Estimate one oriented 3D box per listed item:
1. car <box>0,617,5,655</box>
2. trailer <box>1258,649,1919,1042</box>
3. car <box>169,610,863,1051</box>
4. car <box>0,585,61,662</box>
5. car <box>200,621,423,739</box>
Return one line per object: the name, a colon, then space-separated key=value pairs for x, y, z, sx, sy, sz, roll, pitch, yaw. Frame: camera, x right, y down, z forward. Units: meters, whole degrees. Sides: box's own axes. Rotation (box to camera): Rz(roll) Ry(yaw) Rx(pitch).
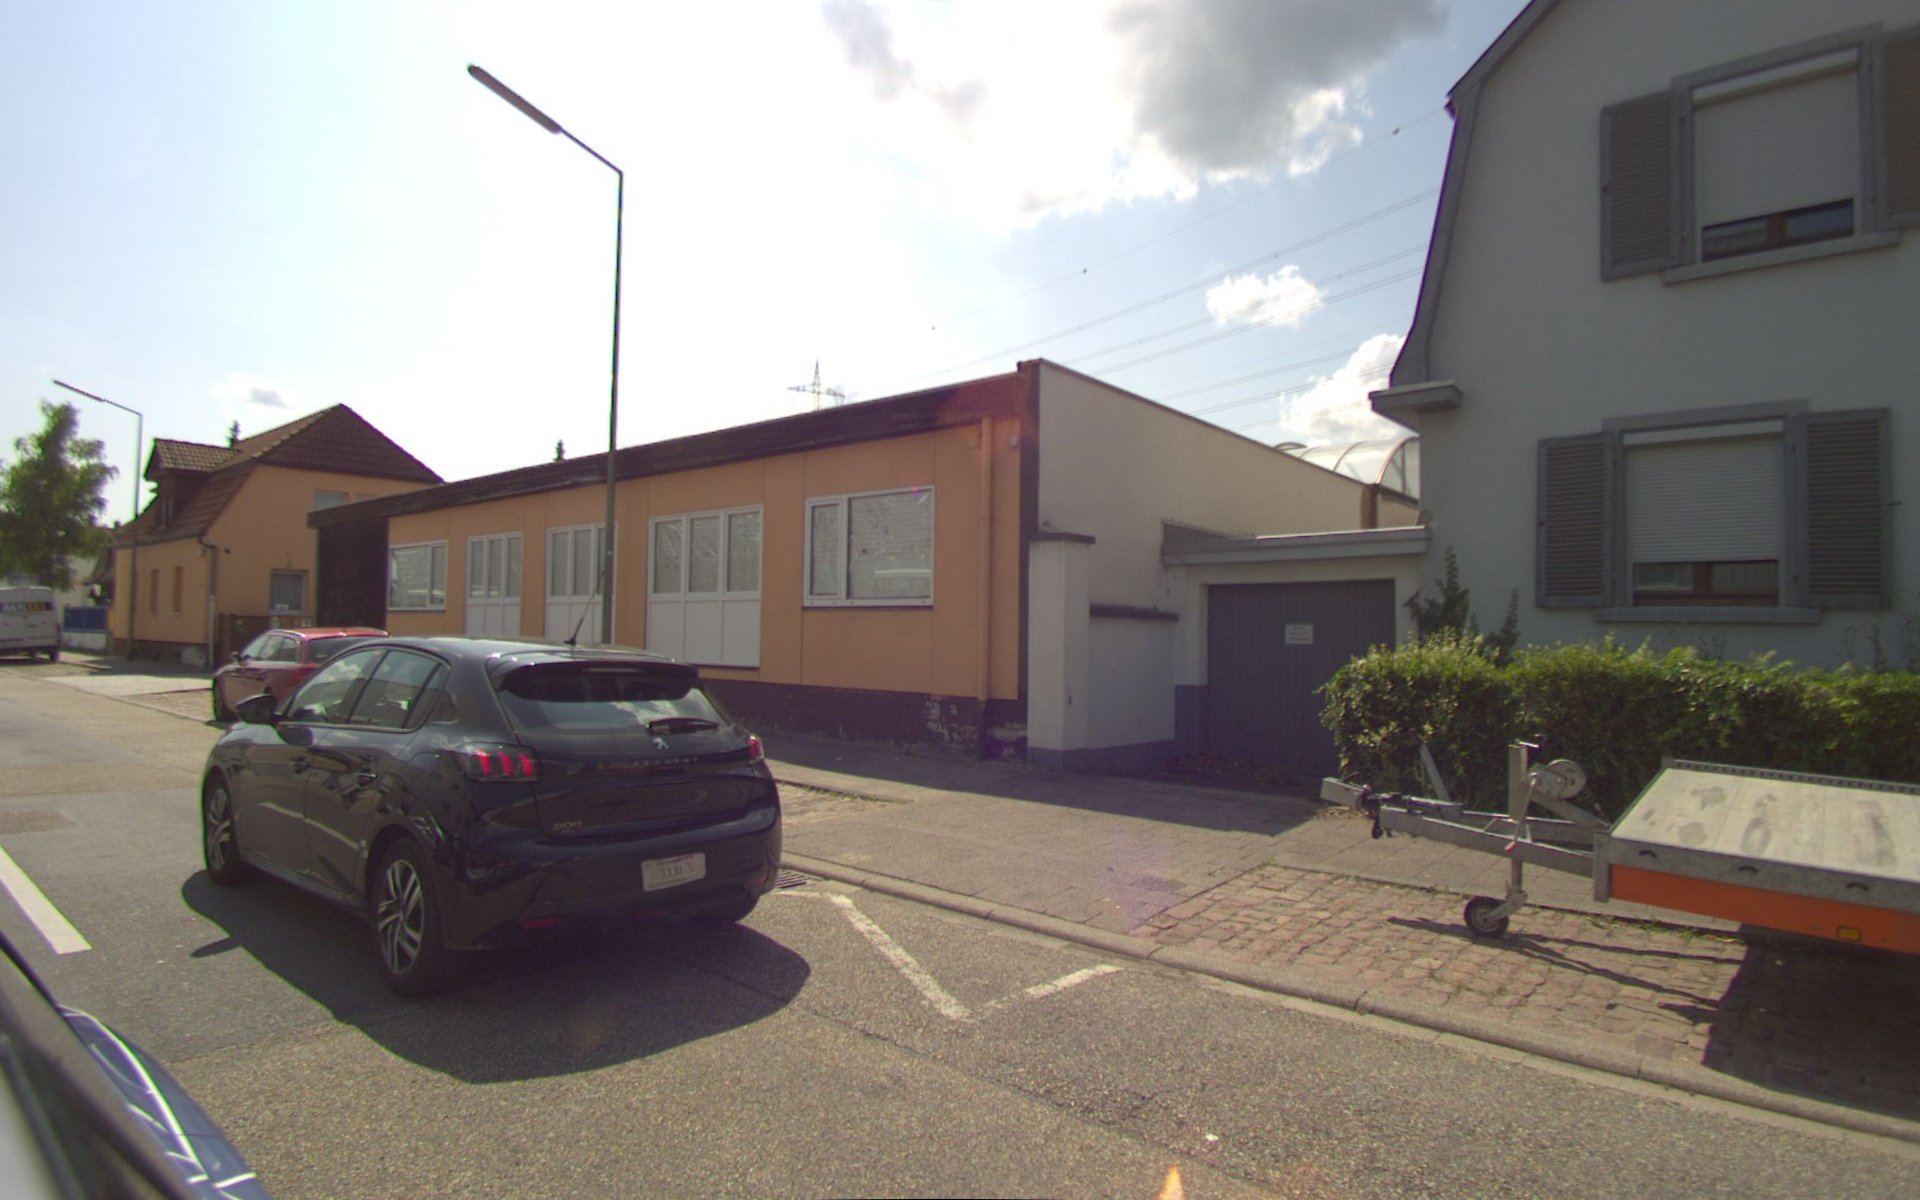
car: x=-39.637 y=1.436 z=40.562 sx=3.714 sy=1.502 sz=1.636 roll=-1 pitch=0 yaw=41
trailer: x=4.486 y=0.872 z=3.770 sx=6.052 sy=1.173 sz=2.424 roll=-1 pitch=-1 yaw=42
car: x=-2.541 y=0.830 z=5.327 sx=3.997 sy=1.453 sz=1.717 roll=-1 pitch=-4 yaw=40
car: x=-33.784 y=0.798 z=35.941 sx=5.821 sy=2.561 sz=2.052 roll=-1 pitch=0 yaw=41
car: x=-9.951 y=1.083 z=15.365 sx=4.628 sy=1.478 sz=1.692 roll=-1 pitch=0 yaw=42
